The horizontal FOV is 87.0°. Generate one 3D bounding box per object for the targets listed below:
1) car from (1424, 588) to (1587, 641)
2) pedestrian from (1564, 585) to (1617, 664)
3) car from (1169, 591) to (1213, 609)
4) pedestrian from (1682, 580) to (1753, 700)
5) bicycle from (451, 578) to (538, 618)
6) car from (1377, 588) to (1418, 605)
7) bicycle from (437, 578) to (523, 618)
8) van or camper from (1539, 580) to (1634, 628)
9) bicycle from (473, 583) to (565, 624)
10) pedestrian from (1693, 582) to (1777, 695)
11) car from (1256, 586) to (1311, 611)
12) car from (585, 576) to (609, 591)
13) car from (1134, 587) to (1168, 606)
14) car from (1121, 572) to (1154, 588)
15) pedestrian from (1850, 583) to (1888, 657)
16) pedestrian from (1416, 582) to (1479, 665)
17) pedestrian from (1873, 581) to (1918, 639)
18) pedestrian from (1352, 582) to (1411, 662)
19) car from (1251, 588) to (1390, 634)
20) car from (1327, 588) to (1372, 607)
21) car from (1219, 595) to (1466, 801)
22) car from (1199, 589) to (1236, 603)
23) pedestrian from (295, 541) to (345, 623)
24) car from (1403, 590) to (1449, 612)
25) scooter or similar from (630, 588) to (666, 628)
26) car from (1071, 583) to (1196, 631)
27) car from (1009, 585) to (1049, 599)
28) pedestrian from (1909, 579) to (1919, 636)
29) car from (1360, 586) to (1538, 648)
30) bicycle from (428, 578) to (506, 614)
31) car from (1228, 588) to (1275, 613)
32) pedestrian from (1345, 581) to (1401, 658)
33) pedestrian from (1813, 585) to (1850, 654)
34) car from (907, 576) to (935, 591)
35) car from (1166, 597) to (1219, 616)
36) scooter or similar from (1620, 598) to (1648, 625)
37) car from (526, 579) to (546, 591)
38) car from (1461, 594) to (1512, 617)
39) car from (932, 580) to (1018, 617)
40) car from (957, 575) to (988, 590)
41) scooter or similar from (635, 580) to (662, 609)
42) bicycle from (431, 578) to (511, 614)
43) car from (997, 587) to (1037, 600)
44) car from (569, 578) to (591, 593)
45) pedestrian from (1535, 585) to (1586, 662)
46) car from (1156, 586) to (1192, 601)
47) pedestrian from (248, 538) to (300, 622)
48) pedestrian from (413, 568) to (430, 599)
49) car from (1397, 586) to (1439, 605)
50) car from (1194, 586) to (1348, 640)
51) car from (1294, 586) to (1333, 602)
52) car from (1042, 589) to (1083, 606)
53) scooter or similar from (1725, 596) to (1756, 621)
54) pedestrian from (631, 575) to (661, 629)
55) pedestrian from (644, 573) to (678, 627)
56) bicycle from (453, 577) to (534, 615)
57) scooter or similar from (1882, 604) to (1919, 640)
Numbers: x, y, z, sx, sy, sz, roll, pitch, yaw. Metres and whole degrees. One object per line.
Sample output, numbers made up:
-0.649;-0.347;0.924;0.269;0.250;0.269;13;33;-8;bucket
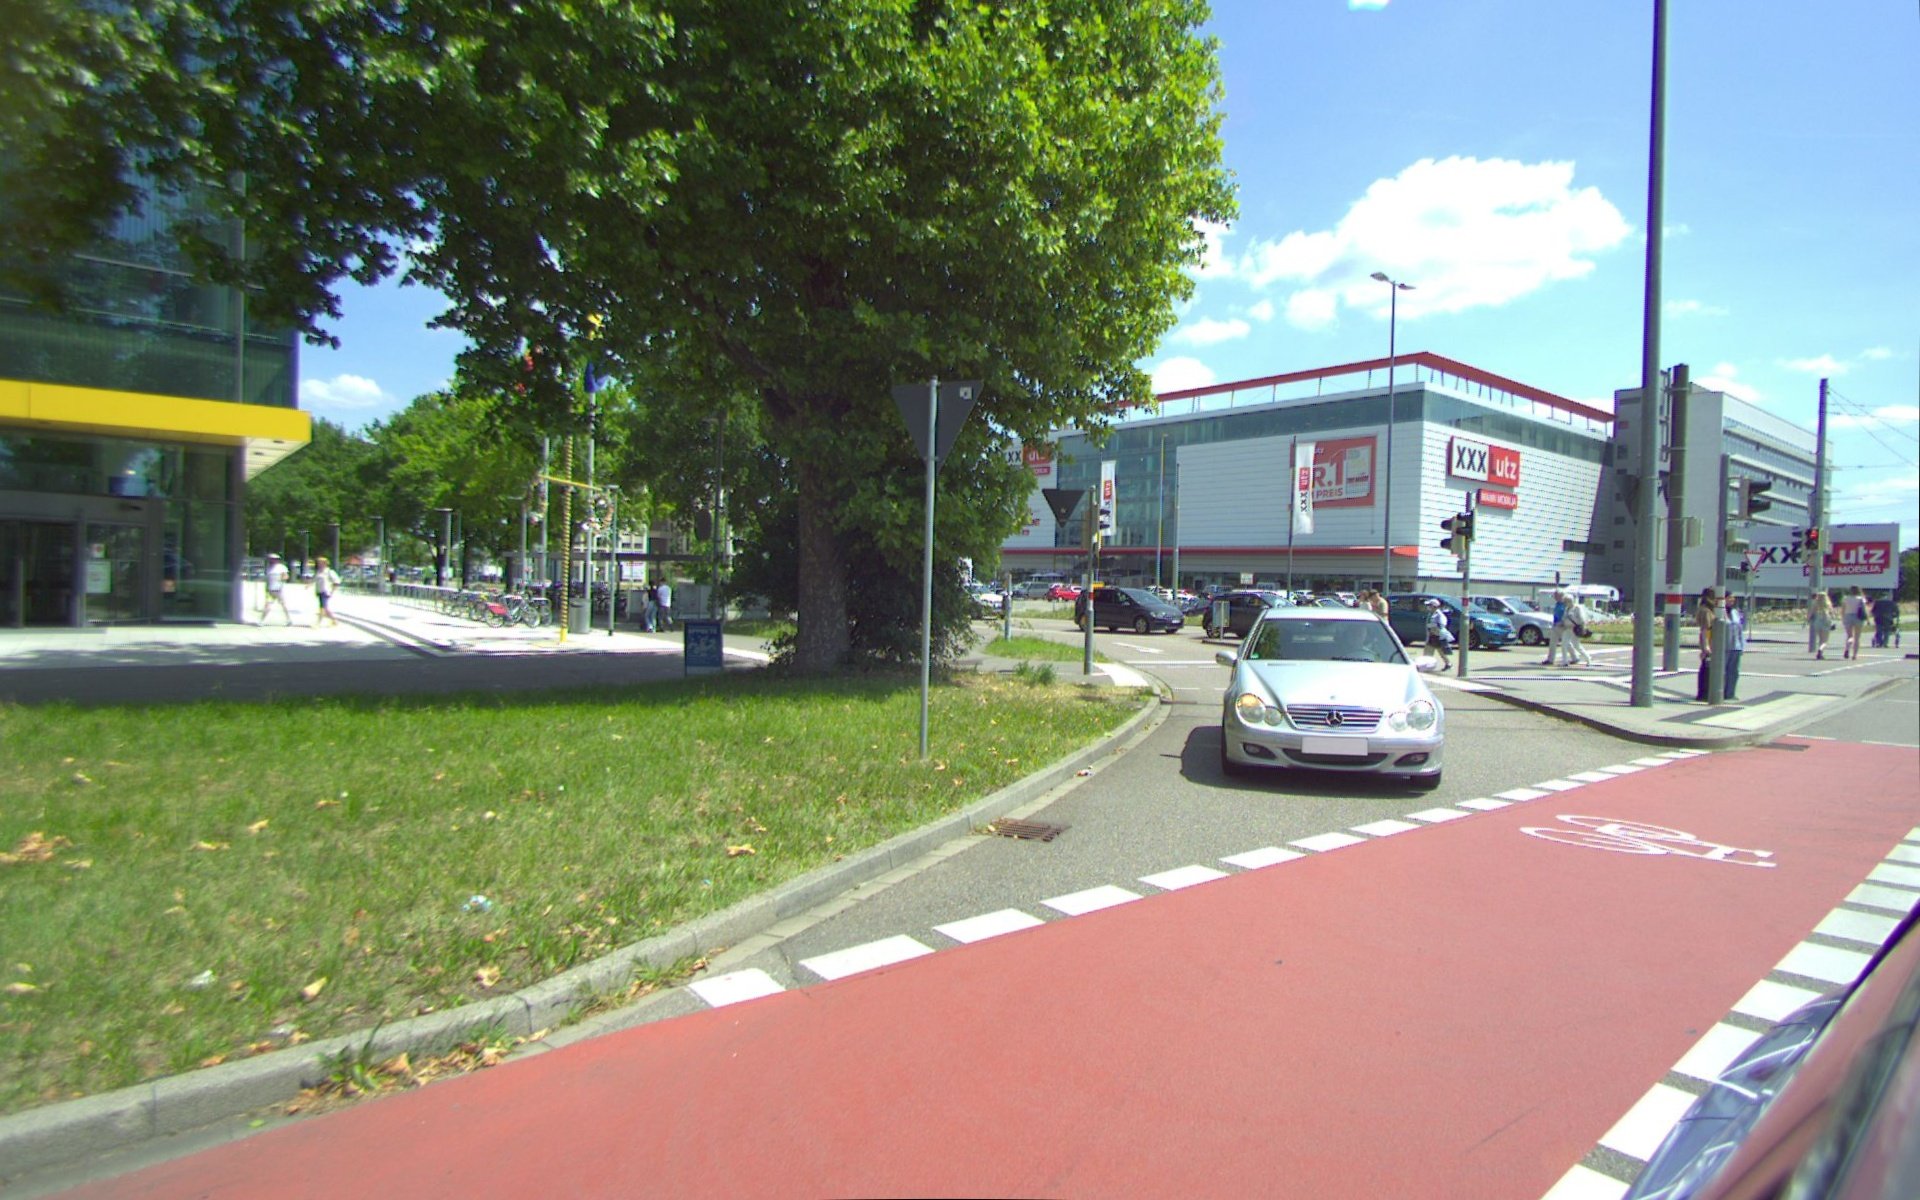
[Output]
15.973;0.384;29.758;1.772;1.414;3.831;0;1;-41;car
13.665;0.512;21.933;0.846;1.658;0.609;-1;1;-27;pedestrian
19.952;-0.018;87.245;3.933;1.565;1.850;0;1;-43;car
11.076;0.561;14.802;0.614;1.704;0.725;0;0;-42;pedestrian
-14.624;-0.063;31.872;0.798;1.214;2.401;1;1;37;bicycle
45.591;-0.340;105.453;4.436;1.714;1.999;0;1;-38;car
-15.398;-0.067;32.532;0.798;1.214;2.401;1;1;37;bicycle
40.871;0.192;65.936;7.473;2.983;2.716;-1;0;-37;van or camper
-12.929;0.090;29.737;0.798;1.159;2.401;1;1;37;bicycle
11.679;0.553;15.255;0.755;1.626;0.894;0;0;-43;pedestrian
27.591;-0.180;86.310;4.873;2.039;1.999;-1;1;-37;car
-49.578;-2.284;138.248;1.963;2.039;3.997;0;1;-38;car
20.752;-0.414;110.124;3.538;2.039;1.724;0;1;-38;car
23.547;-2.607;134.147;4.207;2.039;1.850;-1;0;-37;car
21.049;0.442;23.436;0.628;1.687;0.528;0;0;-35;pedestrian
9.986;0.466;20.742;0.834;1.680;0.799;0;0;-13;pedestrian
27.734;0.281;30.000;0.928;1.694;0.785;0;0;-33;pedestrian
9.042;0.460;21.720;0.834;1.680;0.799;0;0;-23;pedestrian
12.126;0.338;34.298;1.769;1.415;4.235;-2;1;-32;car
37.715;-0.237;97.956;4.437;1.756;1.999;0;1;-38;car
3.456;0.694;9.573;1.709;1.436;4.297;0;1;18;car
26.401;-0.424;103.803;3.928;1.326;1.693;0;1;-39;car
-16.244;-0.459;25.705;0.724;2.039;0.793;1;0;23;pedestrian
42.360;0.051;92.033;4.437;1.918;1.999;0;0;-38;car
-9.751;0.247;31.589;0.716;1.213;1.075;0;1;-41;scooter or similar
6.168;0.192;36.473;1.828;1.604;4.413;-1;1;-36;car
7.665;-0.852;111.588;4.175;1.430;1.860;0;1;-36;car
32.493;0.247;33.968;0.782;1.888;0.806;0;0;-35;pedestrian
13.404;0.394;27.942;1.963;1.575;3.998;-1;1;-37;car
-17.486;-0.152;35.972;0.798;1.214;2.401;1;1;37;bicycle
25.368;0.016;87.911;3.926;2.039;1.999;-1;0;-37;car
9.216;0.413;22.614;0.834;1.680;0.799;0;0;-23;pedestrian
20.320;0.444;23.596;0.600;1.599;0.528;0;0;-35;pedestrian
-5.614;-2.411;145.133;3.701;2.039;1.655;0;1;-37;car
17.269;0.474;75.032;3.871;1.393;1.853;0;1;-38;car
32.545;0.538;48.886;1.252;1.307;0.481;0;0;-21;scooter or similar
-59.757;-2.135;142.497;1.729;1.632;3.546;0;1;-38;car
43.119;0.424;82.863;4.420;1.738;1.999;-1;1;-37;car
0.649;-0.100;47.893;1.963;1.660;4.079;0;1;-38;car
1.708;-2.330;137.748;3.932;2.039;1.996;0;0;-42;car
-14.584;-0.266;47.438;1.114;1.336;0.402;0;0;-37;scooter or similar
-16.890;-0.147;35.035;0.798;1.214;2.401;1;1;37;bicycle
6.396;-0.742;113.152;4.176;1.430;1.860;-1;1;-36;car
-54.393;-2.085;144.785;1.963;2.039;3.997;0;1;-38;car
13.320;0.508;22.450;0.846;1.658;0.605;-1;1;-27;pedestrian
22.868;-0.695;108.024;3.928;1.546;1.693;0;1;-39;car
-17.103;-0.496;25.241;0.720;2.039;0.798;1;0;7;pedestrian
-28.243;-0.856;53.078;0.570;1.606;0.766;0;1;-45;pedestrian
46.863;-0.445;103.525;4.436;1.946;1.999;0;0;-38;car
9.725;0.356;31.918;1.820;1.461;4.410;-2;3;-39;car
39.050;-0.673;111.721;4.439;1.714;1.998;0;1;-40;car
10.937;-0.255;107.931;4.092;1.723;1.854;0;1;-36;car
38.802;0.433;50.304;1.253;1.140;0.481;-3;1;-10;scooter or similar
-9.426;0.059;30.355;0.623;1.606;0.610;0;1;-45;pedestrian
-9.063;-0.005;30.710;0.623;1.606;0.918;0;1;-44;pedestrian
-15.800;-0.143;34.329;0.798;1.214;2.401;1;1;37;bicycle
28.199;0.636;30.272;0.846;1.044;0.692;0;1;-32;scooter or similar
